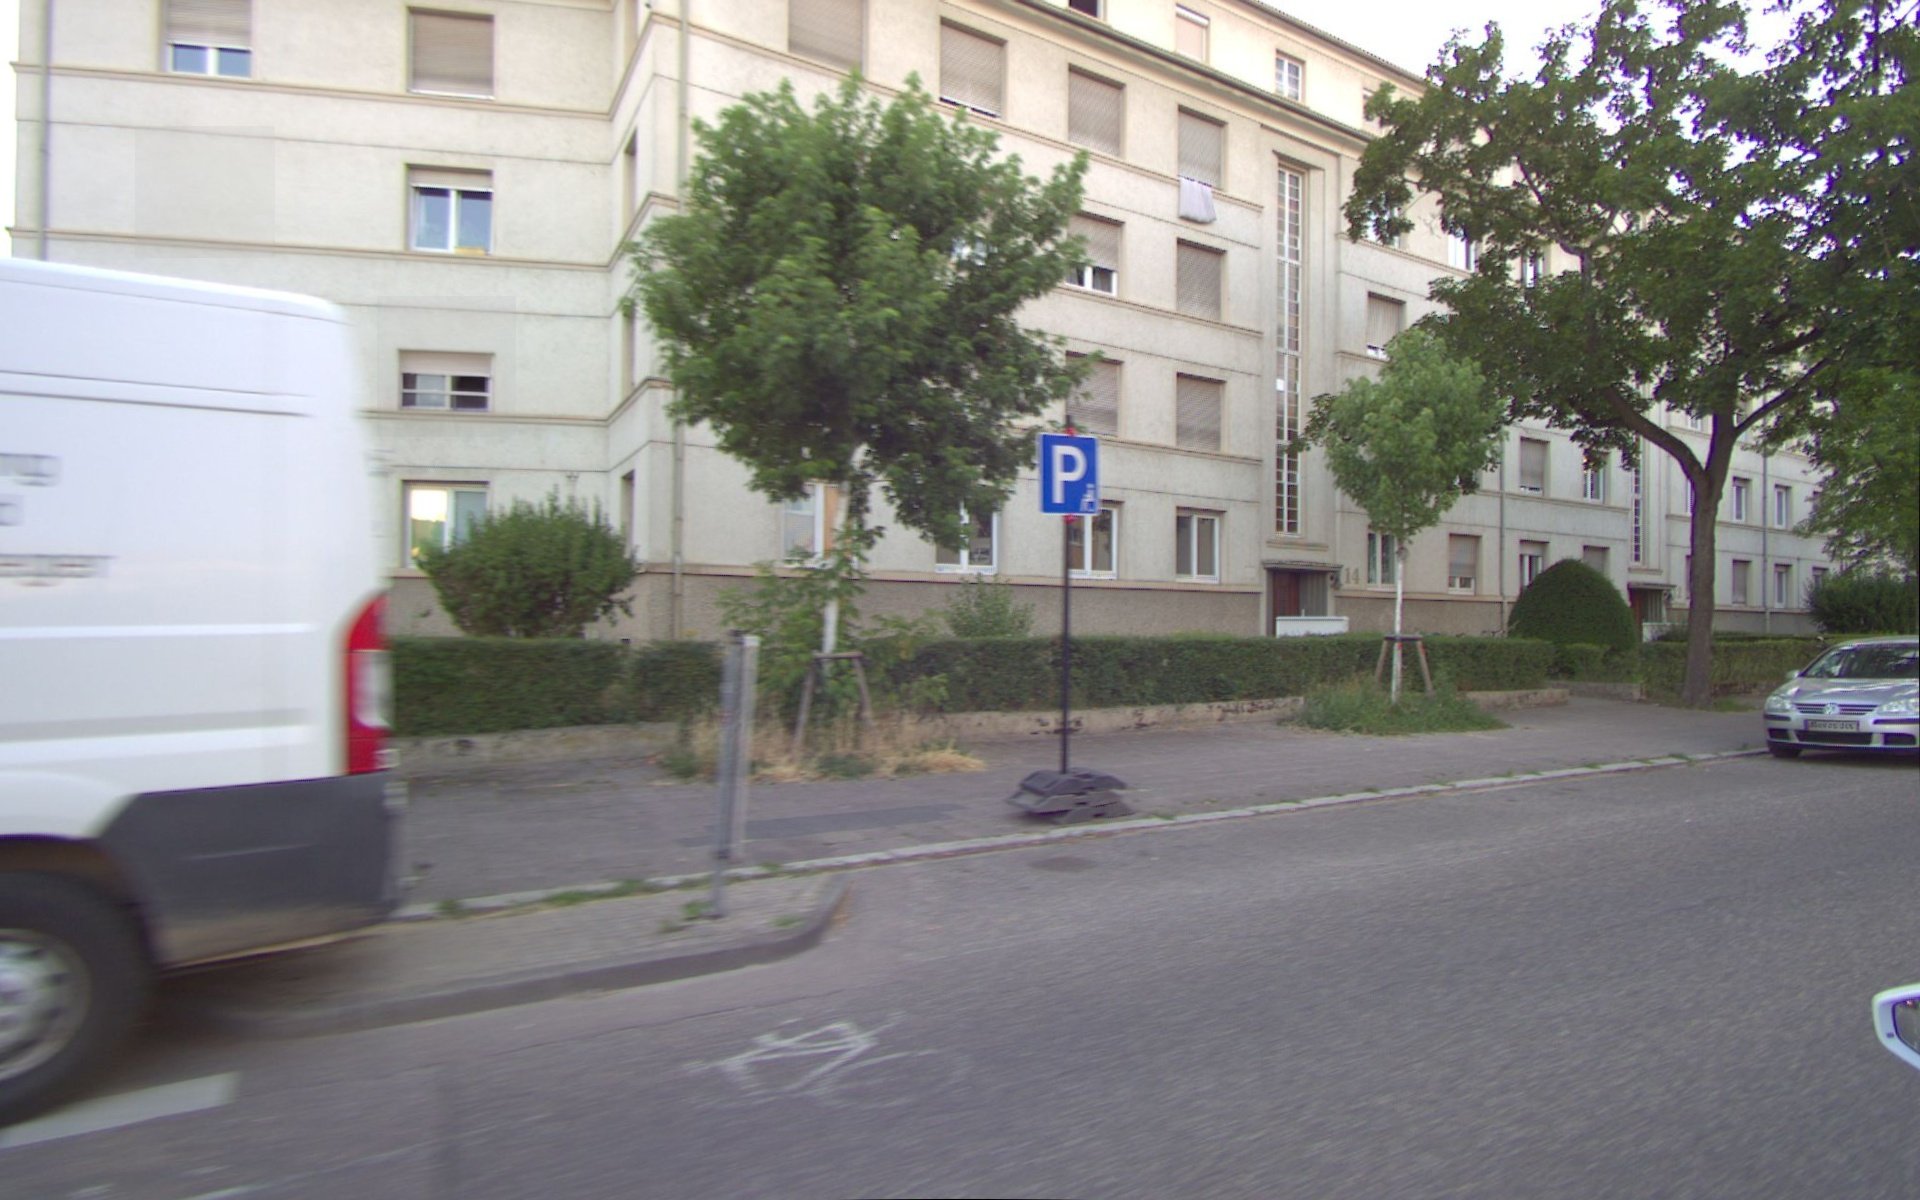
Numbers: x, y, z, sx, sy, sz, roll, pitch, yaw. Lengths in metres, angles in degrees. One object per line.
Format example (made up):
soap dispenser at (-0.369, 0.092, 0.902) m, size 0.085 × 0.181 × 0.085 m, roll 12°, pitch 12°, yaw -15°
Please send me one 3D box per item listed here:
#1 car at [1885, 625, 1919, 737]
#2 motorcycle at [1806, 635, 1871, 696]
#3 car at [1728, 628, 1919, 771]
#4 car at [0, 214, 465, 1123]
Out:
car at (16.164, 1.202, 15.493) m, size 4.062 × 1.653 × 1.743 m, roll 1°, pitch -4°, yaw -32°
motorcycle at (19.938, 1.467, 22.789) m, size 1.807 × 1.342 × 0.583 m, roll 1°, pitch -1°, yaw -31°
car at (11.458, 1.136, 12.286) m, size 4.173 × 1.490 × 1.745 m, roll 1°, pitch -4°, yaw -30°
car at (-4.788, 0.202, 2.717) m, size 6.033 × 2.493 × 2.169 m, roll 1°, pitch -4°, yaw -31°
